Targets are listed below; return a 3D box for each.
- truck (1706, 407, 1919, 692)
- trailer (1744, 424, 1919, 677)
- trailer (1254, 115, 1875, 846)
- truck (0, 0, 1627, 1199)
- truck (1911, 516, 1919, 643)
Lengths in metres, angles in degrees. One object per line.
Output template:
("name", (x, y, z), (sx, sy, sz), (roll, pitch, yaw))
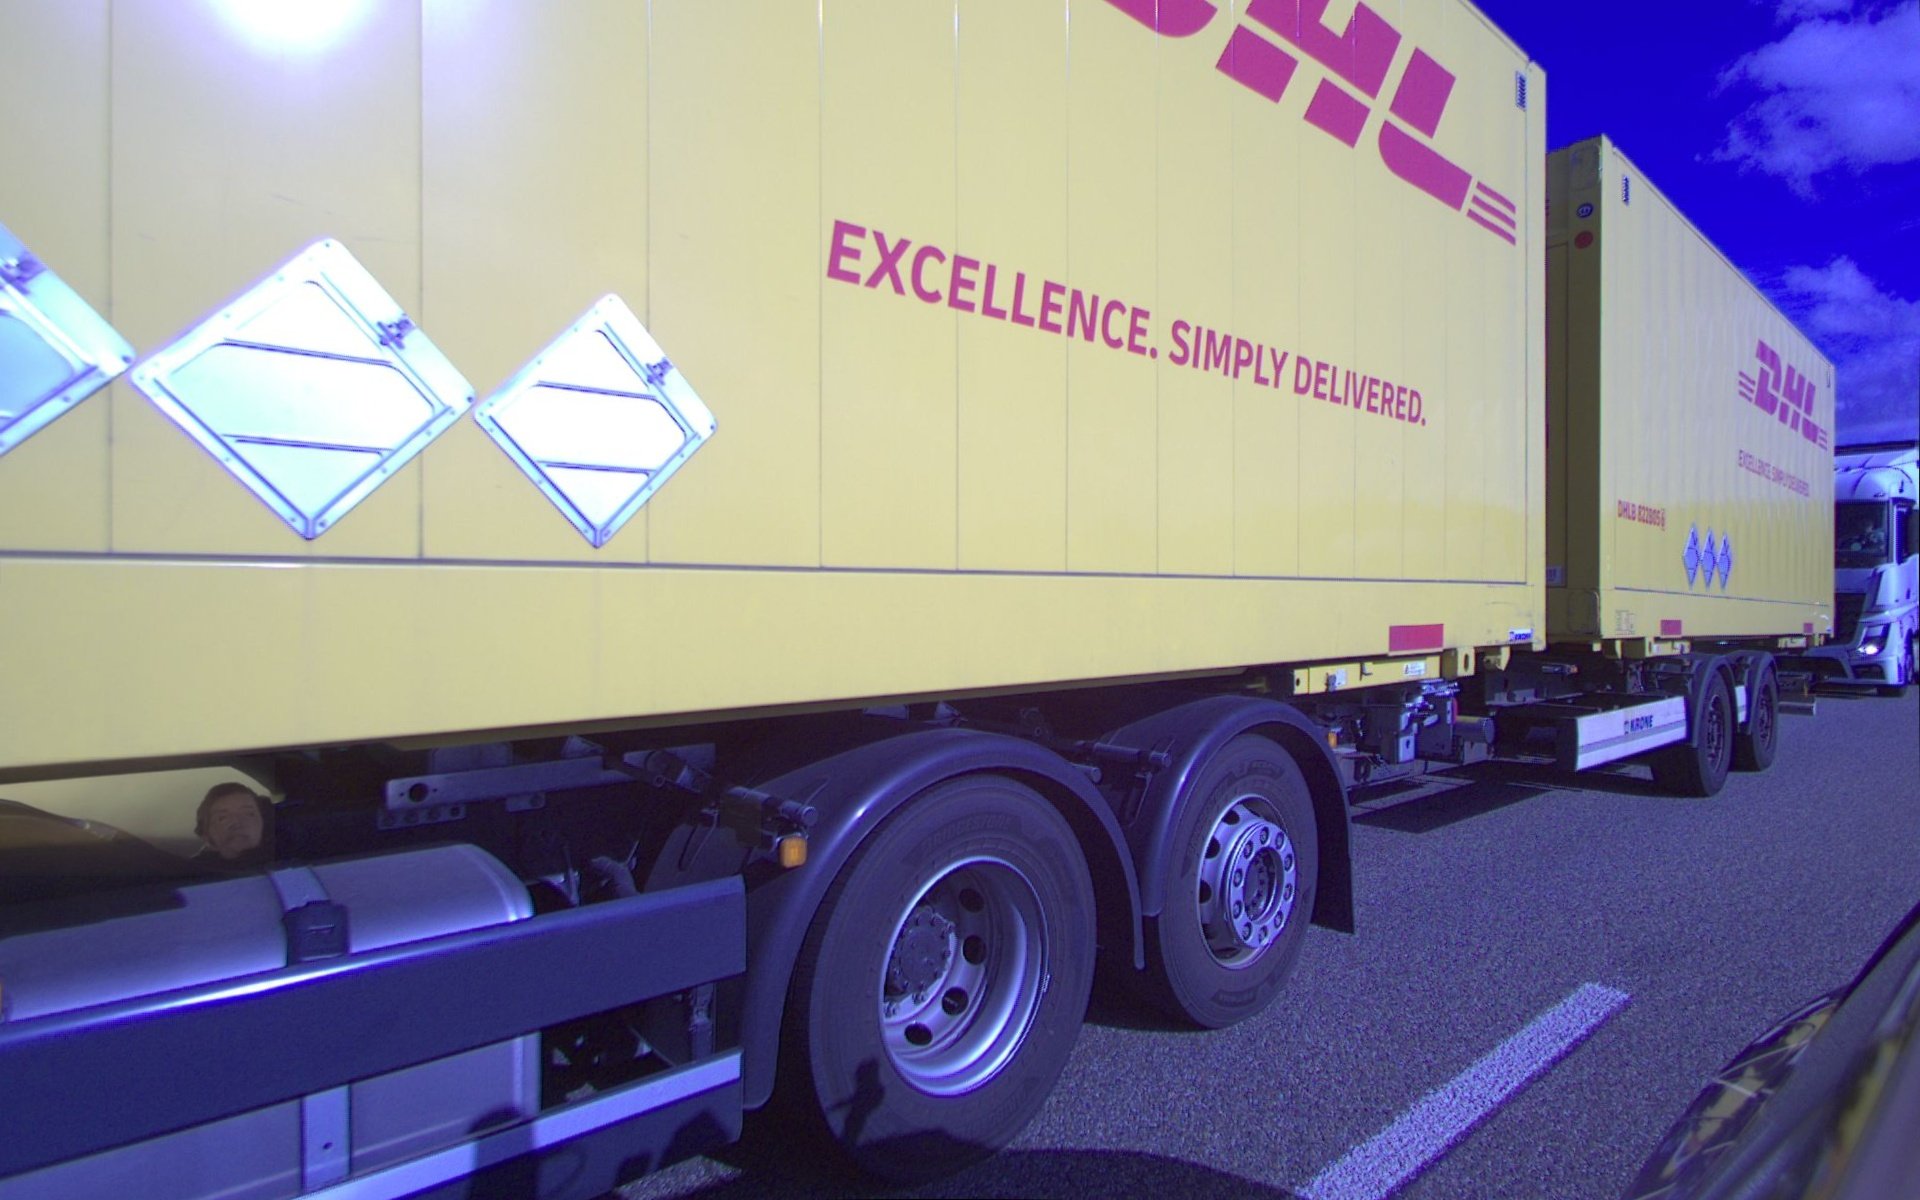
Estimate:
("truck", (15.544, -0.751, 17.743), (6.379, 4.141, 2.652), (0, 0, -41))
("trailer", (20.221, -0.859, 21.872), (13.738, 4.150, 2.646), (-1, 0, -42))
("trailer", (6.276, -0.687, 9.514), (8.771, 4.120, 2.416), (0, 0, -41))
("truck", (-0.628, -0.679, 3.464), (9.496, 4.120, 2.416), (0, 0, -41))
("truck", (33.242, -0.617, 32.991), (6.821, 3.975, 2.653), (1, -1, -42))
